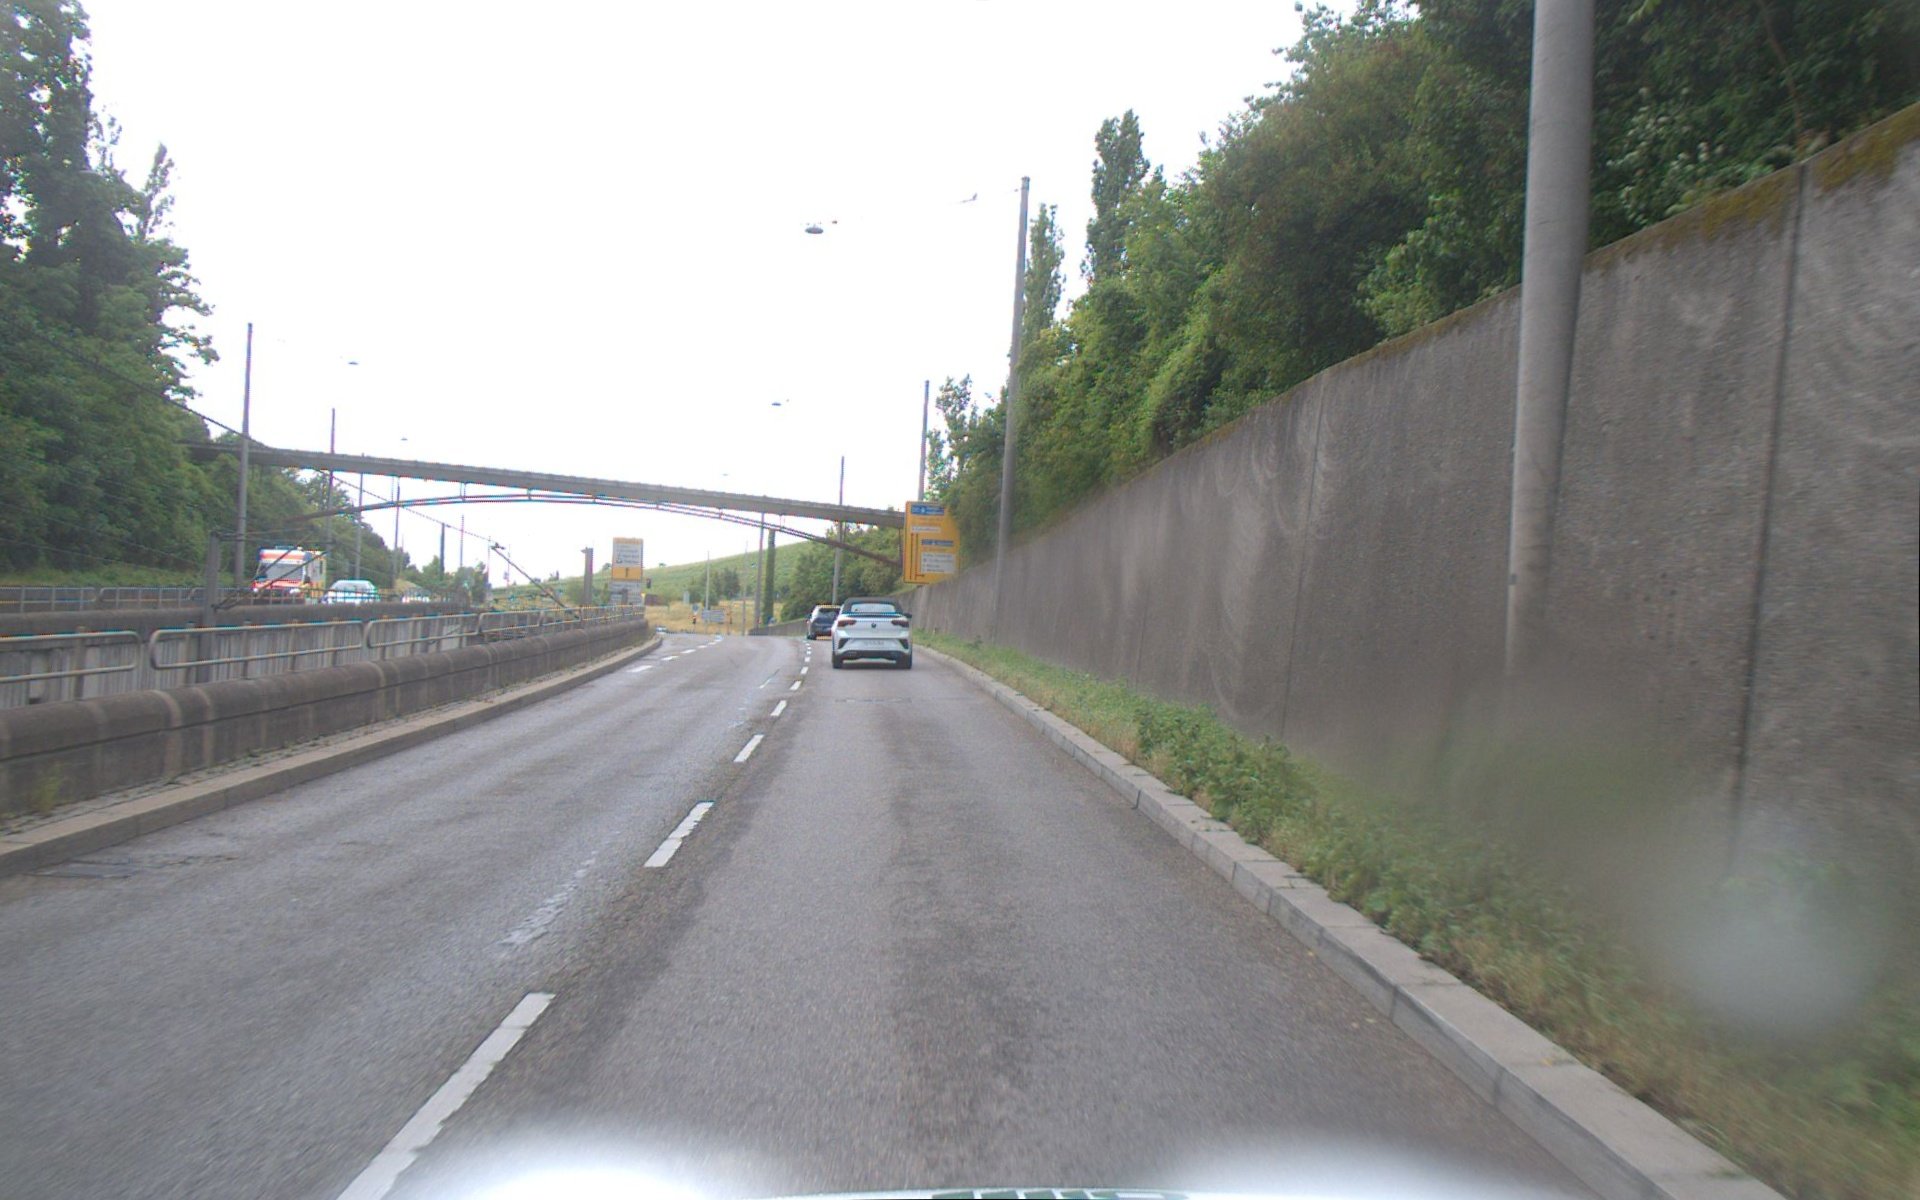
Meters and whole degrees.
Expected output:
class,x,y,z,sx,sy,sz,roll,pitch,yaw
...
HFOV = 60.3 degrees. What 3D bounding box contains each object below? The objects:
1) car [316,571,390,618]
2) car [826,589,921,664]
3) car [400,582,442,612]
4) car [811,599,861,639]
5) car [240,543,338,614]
class,x,y,z,sx,sy,sz,roll,pitch,yaw
car,-23.660,-0.192,64.601,1.783,1.734,4.104,0,-1,-7
car,-2.021,0.570,37.556,1.957,1.606,4.120,0,0,-6
car,-32.632,-0.166,100.211,1.926,1.780,4.129,1,-1,-12
car,-5.272,0.795,70.842,1.887,1.627,4.061,0,0,-1
car,-27.687,-0.838,68.496,2.141,2.782,6.335,0,-1,-7
